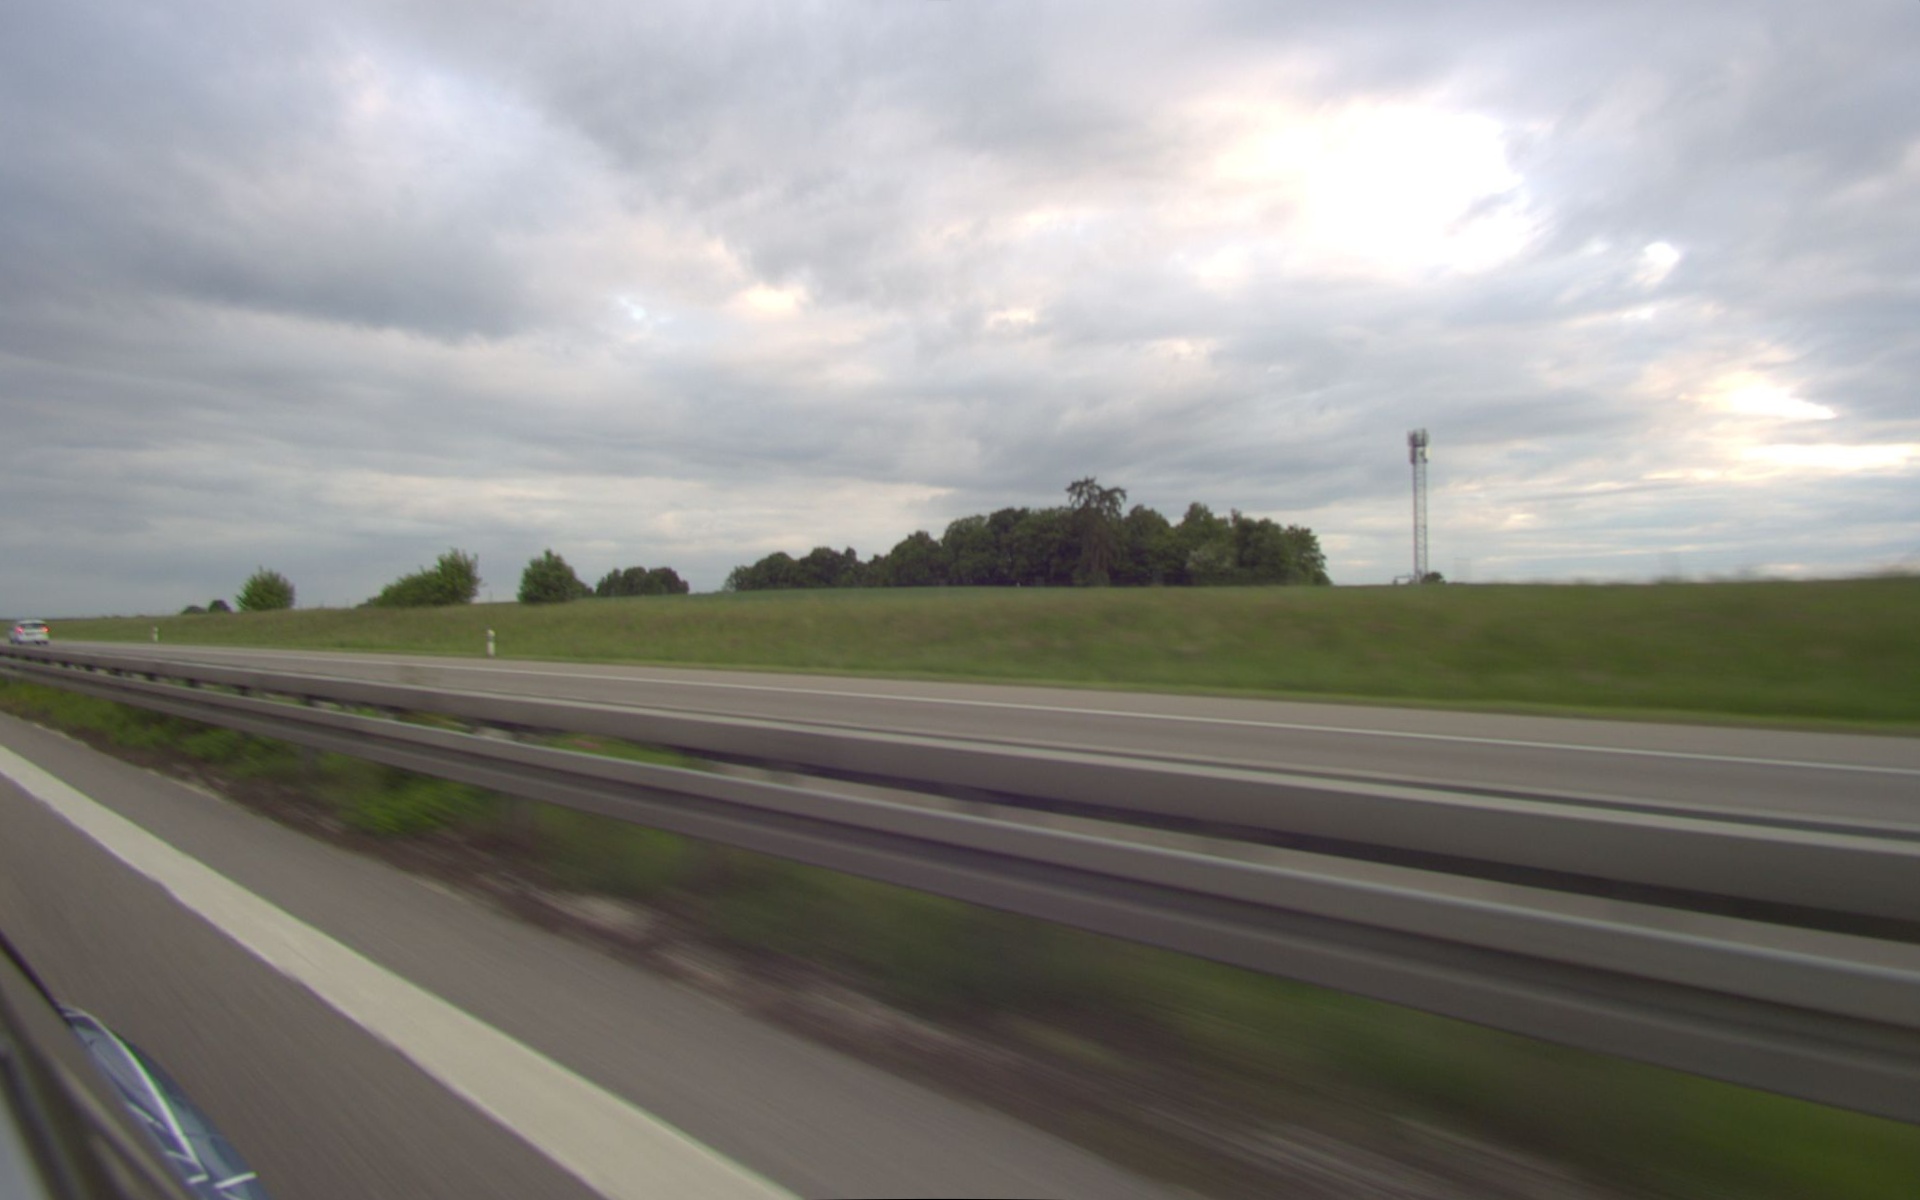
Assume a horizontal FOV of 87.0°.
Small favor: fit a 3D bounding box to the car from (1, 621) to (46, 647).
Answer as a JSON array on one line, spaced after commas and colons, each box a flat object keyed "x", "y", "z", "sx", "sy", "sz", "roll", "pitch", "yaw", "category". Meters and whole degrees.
[{"x": -68.194, "y": 2.446, "z": 73.664, "sx": 4.990, "sy": 1.816, "sz": 1.743, "roll": -1, "pitch": -2, "yaw": 40, "category": "car"}]
